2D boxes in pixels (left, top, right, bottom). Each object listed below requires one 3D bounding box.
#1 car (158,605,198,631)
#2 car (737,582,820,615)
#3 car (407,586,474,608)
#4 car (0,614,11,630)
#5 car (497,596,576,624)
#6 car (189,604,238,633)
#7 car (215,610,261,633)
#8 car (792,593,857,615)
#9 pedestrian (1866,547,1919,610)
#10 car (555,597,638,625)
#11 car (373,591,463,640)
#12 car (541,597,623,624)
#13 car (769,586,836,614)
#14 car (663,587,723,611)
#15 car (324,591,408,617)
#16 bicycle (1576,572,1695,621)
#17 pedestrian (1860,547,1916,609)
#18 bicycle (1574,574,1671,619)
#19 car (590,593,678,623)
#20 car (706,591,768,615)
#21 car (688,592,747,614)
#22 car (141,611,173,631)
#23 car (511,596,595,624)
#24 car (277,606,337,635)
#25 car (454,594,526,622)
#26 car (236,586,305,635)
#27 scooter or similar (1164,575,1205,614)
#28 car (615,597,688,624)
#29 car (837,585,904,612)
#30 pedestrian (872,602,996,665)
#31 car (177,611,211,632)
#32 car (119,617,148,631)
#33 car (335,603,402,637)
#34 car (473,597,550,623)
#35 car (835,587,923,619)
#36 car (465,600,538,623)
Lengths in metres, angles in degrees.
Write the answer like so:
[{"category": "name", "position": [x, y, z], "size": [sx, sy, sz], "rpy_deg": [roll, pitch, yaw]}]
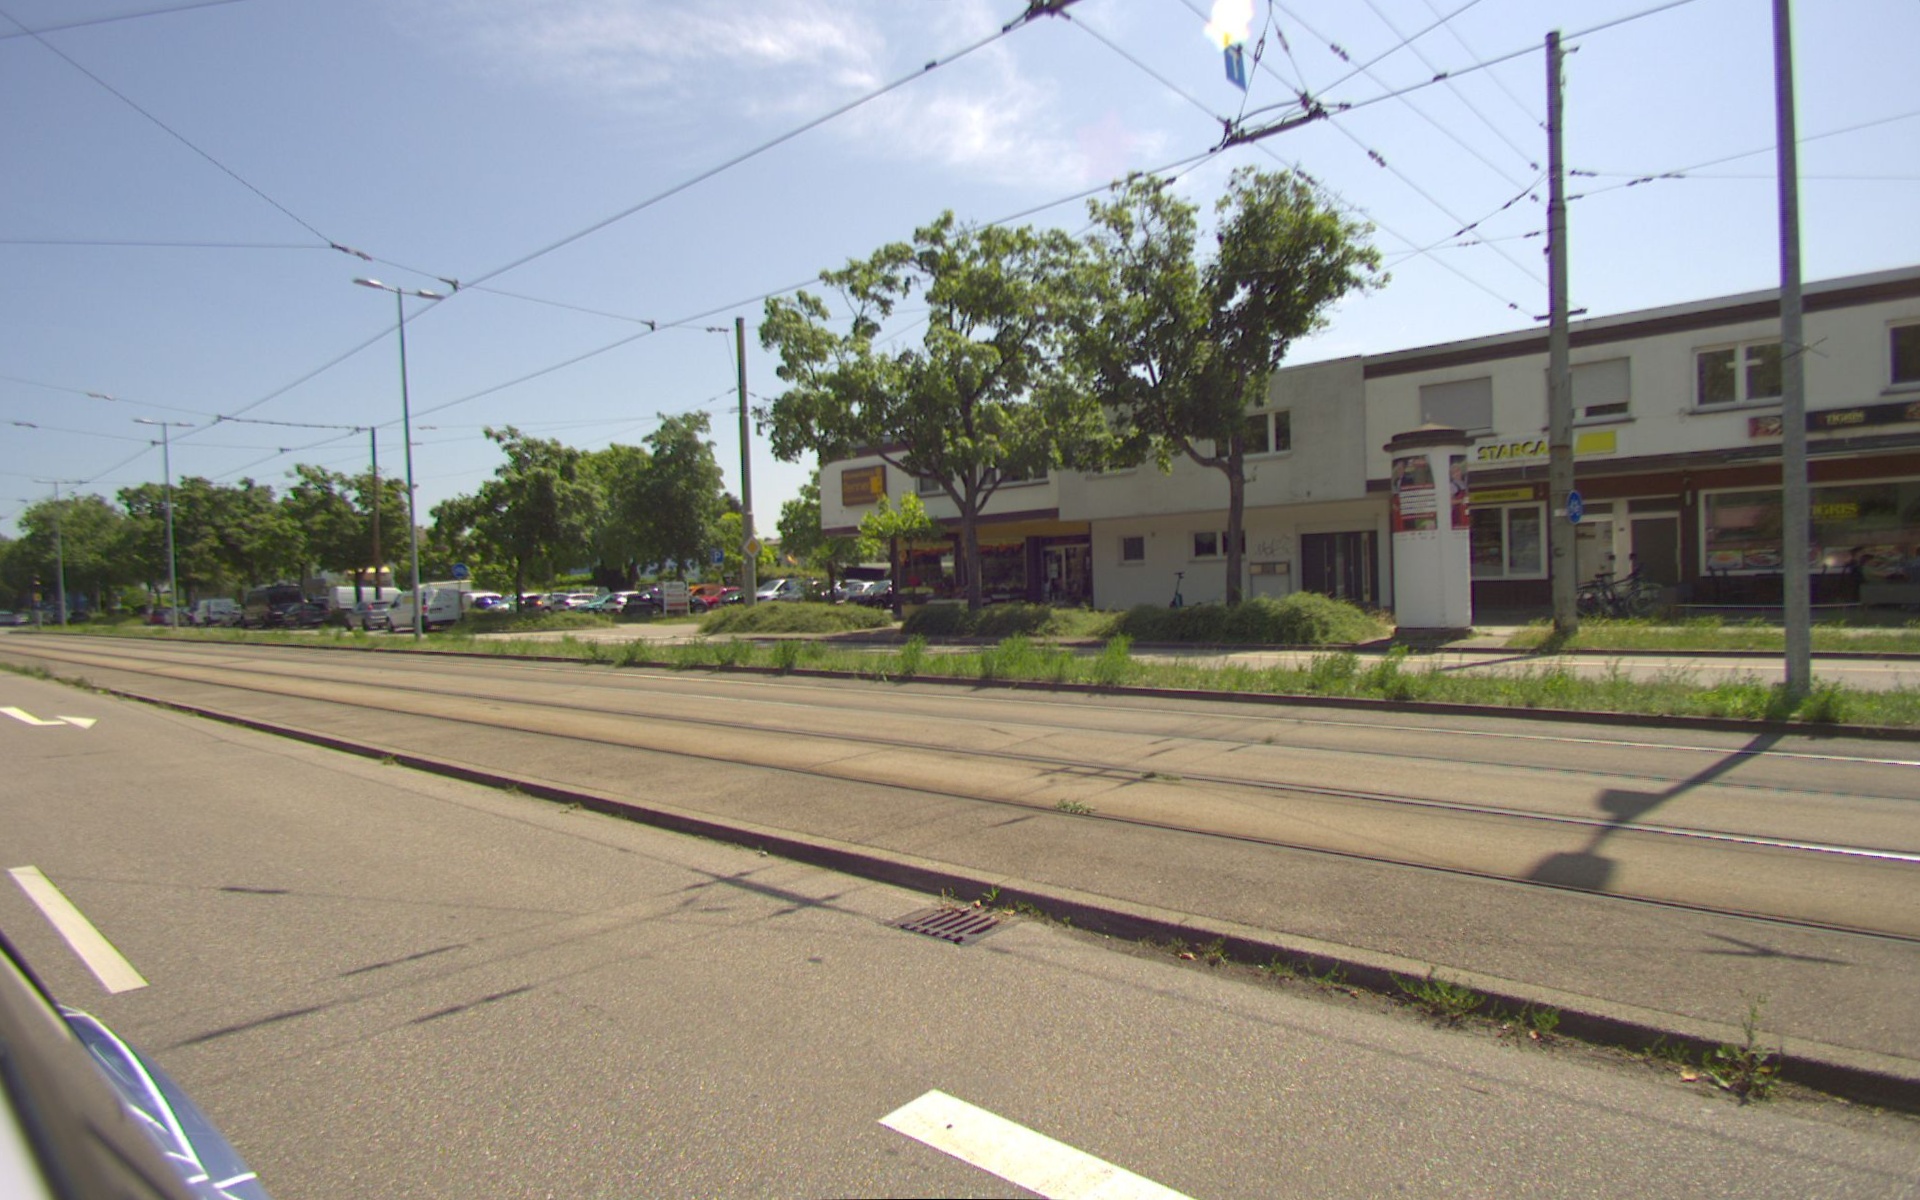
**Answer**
[{"category": "car", "position": [-60.203, 1.362, 77.886], "size": [4.495, 1.907, 1.614], "rpy_deg": [0, 0, 41]}, {"category": "car", "position": [-11.781, -0.130, 65.903], "size": [2.225, 2.085, 5.055], "rpy_deg": [0, 0, 41]}, {"category": "car", "position": [-52.689, -0.315, 102.782], "size": [2.145, 2.078, 5.674], "rpy_deg": [0, 0, 38]}, {"category": "car", "position": [-103.782, 2.357, 109.172], "size": [4.569, 1.622, 1.705], "rpy_deg": [0, 0, 42]}, {"category": "car", "position": [-25.715, 0.587, 61.557], "size": [1.827, 1.501, 4.030], "rpy_deg": [-1, 1, 34]}, {"category": "car", "position": [-52.514, 1.277, 71.138], "size": [4.816, 1.963, 1.899], "rpy_deg": [0, 0, 42]}, {"category": "car", "position": [-48.063, 1.398, 67.339], "size": [3.608, 1.475, 1.744], "rpy_deg": [0, 0, 42]}, {"category": "car", "position": [-8.278, 0.238, 62.099], "size": [1.764, 1.294, 3.675], "rpy_deg": [0, 0, 43]}, {"category": "pedestrian", "position": [19.259, -0.433, 20.876], "size": [0.842, 1.278, 0.583], "rpy_deg": [0, 0, 41]}, {"category": "car", "position": [-20.160, 0.594, 56.204], "size": [1.908, 1.501, 3.995], "rpy_deg": [0, 0, 34]}, {"category": "car", "position": [-25.241, 0.693, 47.078], "size": [5.342, 2.026, 1.856], "rpy_deg": [-1, 4, 42]}, {"category": "car", "position": [-21.691, 0.570, 58.201], "size": [1.855, 1.501, 4.099], "rpy_deg": [0, 0, 34]}, {"category": "car", "position": [-10.001, -0.014, 64.253], "size": [1.804, 1.669, 3.943], "rpy_deg": [0, 0, 43]}, {"category": "car", "position": [-19.144, -0.072, 72.702], "size": [1.689, 1.665, 4.082], "rpy_deg": [-1, 0, 35]}, {"category": "car", "position": [-46.325, 0.271, 79.029], "size": [2.029, 1.970, 5.363], "rpy_deg": [0, 0, 42]}, {"category": "bicycle", "position": [14.230, -0.064, 21.360], "size": [2.028, 0.986, 0.604], "rpy_deg": [0, 0, 41]}, {"category": "pedestrian", "position": [19.697, -0.463, 21.499], "size": [0.842, 1.278, 0.583], "rpy_deg": [0, 0, 41]}, {"category": "bicycle", "position": [14.814, -0.071, 22.661], "size": [1.758, 0.986, 0.533], "rpy_deg": [0, 0, 41]}, {"category": "car", "position": [-17.666, 0.422, 55.009], "size": [1.983, 1.501, 4.120], "rpy_deg": [-1, 1, 39]}, {"category": "car", "position": [-15.305, 0.178, 69.525], "size": [1.683, 1.597, 3.948], "rpy_deg": [0, 0, 39]}, {"category": "car", "position": [-17.099, 0.228, 71.584], "size": [1.712, 1.505, 3.953], "rpy_deg": [0, 0, 35]}, {"category": "car", "position": [-65.120, 1.682, 82.051], "size": [3.423, 1.491, 1.561], "rpy_deg": [0, 0, 43]}, {"category": "car", "position": [-23.843, 0.571, 59.387], "size": [2.018, 1.501, 4.117], "rpy_deg": [-1, 1, 34]}, {"category": "car", "position": [-37.301, 1.140, 57.756], "size": [3.751, 1.589, 1.950], "rpy_deg": [0, 0, 42]}, {"category": "car", "position": [-31.235, 0.531, 67.285], "size": [1.794, 1.730, 3.951], "rpy_deg": [-1, 1, 37]}, {"category": "car", "position": [-42.173, 0.624, 61.861], "size": [5.666, 2.859, 2.214], "rpy_deg": [0, 0, 42]}, {"category": "scooter or similar", "position": [6.949, -0.175, 31.416], "size": [0.448, 1.200, 1.349], "rpy_deg": [0, 0, -29]}, {"category": "car", "position": [-16.096, 0.539, 52.881], "size": [1.639, 1.241, 3.385], "rpy_deg": [-1, 1, 34]}, {"category": "car", "position": [-5.379, -0.108, 61.117], "size": [1.661, 1.531, 3.943], "rpy_deg": [0, 0, 43]}, {"category": "pedestrian", "position": [-0.922, 1.101, 34.837], "size": [3.997, 2.029, 1.973], "rpy_deg": [0, 0, 40]}, {"category": "car", "position": [-56.549, 1.559, 74.704], "size": [3.261, 1.489, 1.411], "rpy_deg": [0, 0, 41]}, {"category": "car", "position": [-73.900, 2.114, 90.436], "size": [3.423, 1.167, 1.561], "rpy_deg": [0, 0, 43]}, {"category": "car", "position": [-30.084, 1.015, 51.423], "size": [4.124, 1.513, 1.633], "rpy_deg": [-1, 4, 42]}, {"category": "car", "position": [-27.827, 0.609, 62.917], "size": [1.862, 1.499, 3.955], "rpy_deg": [-1, 1, 34]}, {"category": "car", "position": [-3.718, 0.135, 46.855], "size": [1.682, 1.306, 3.944], "rpy_deg": [-2, 0, 42]}, {"category": "car", "position": [-29.506, 0.728, 65.209], "size": [1.794, 1.417, 3.950], "rpy_deg": [-1, 0, 37]}]
